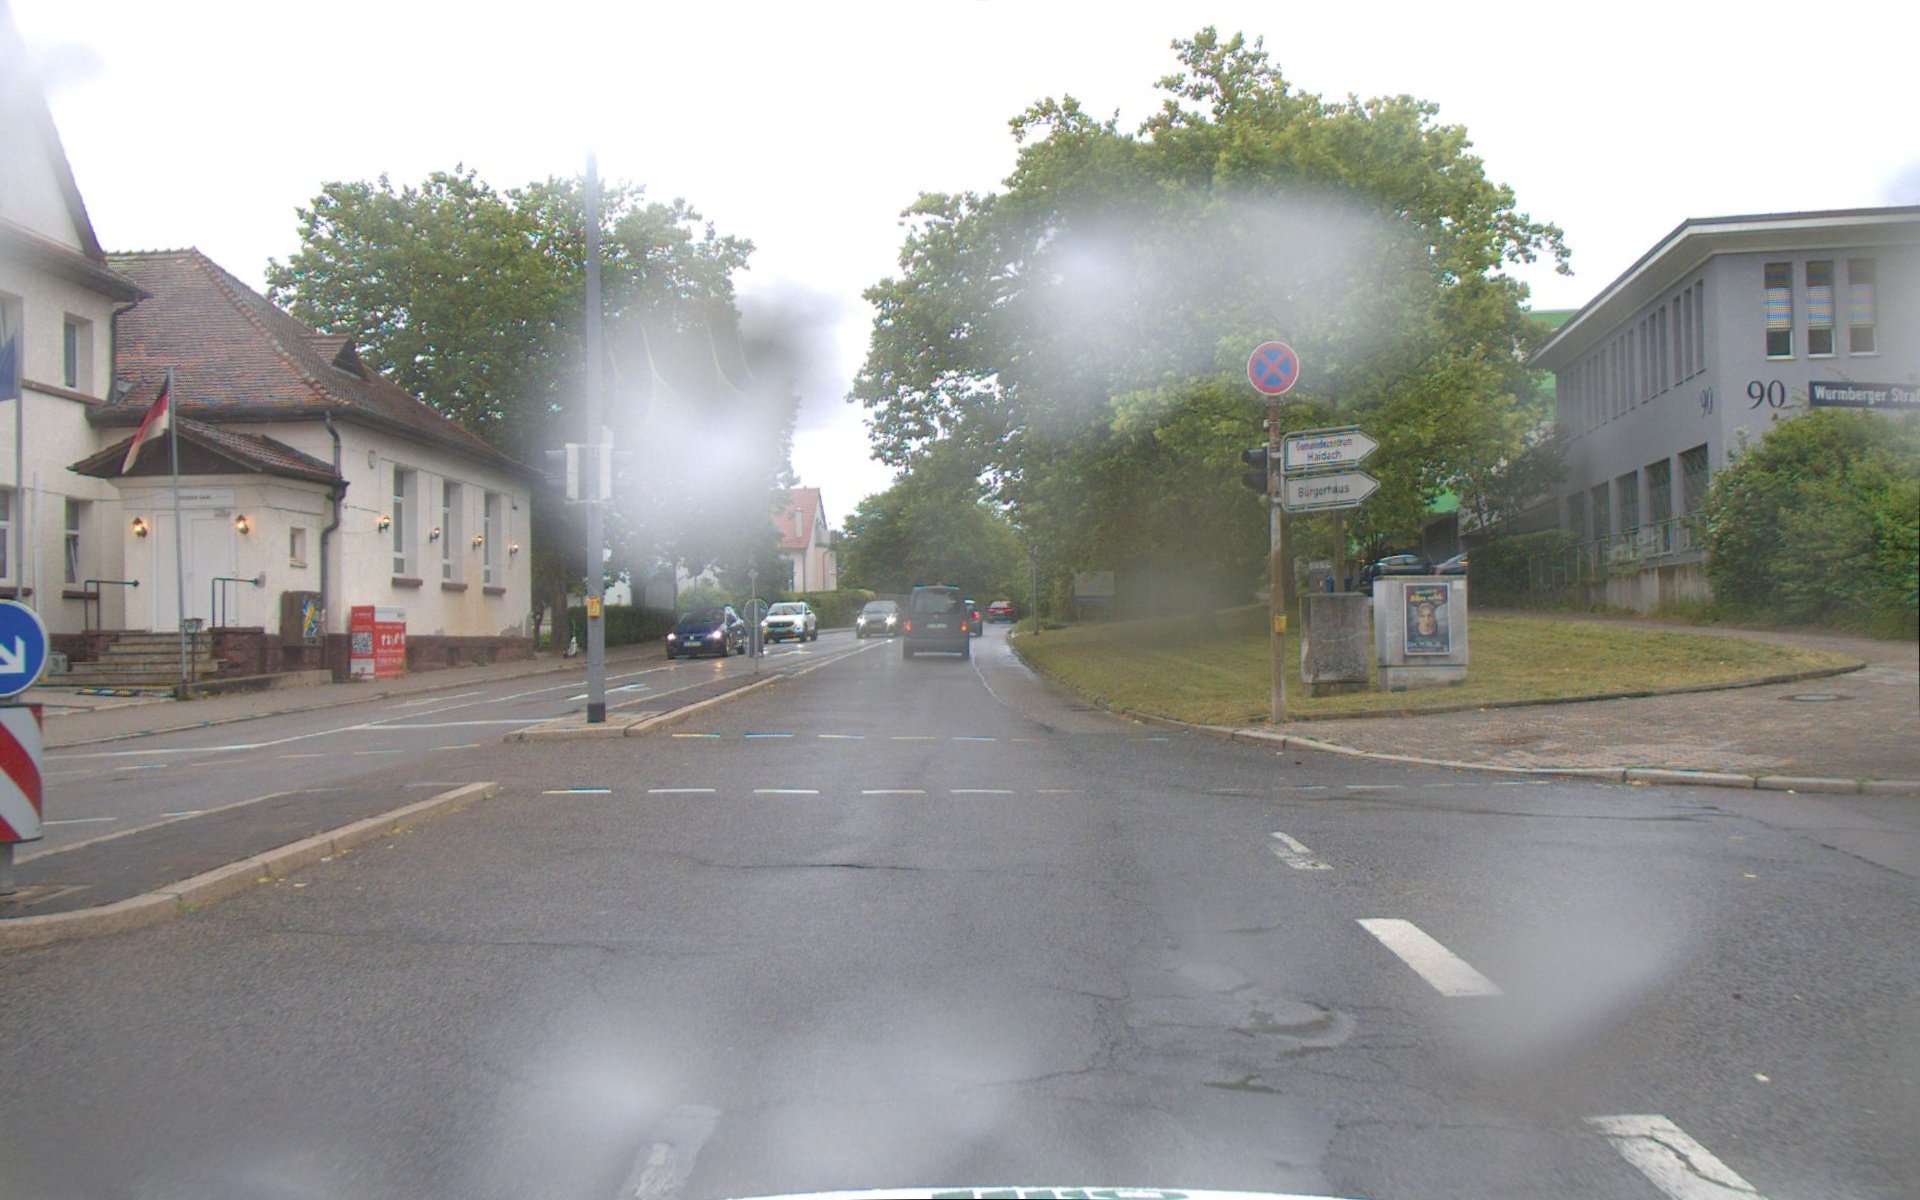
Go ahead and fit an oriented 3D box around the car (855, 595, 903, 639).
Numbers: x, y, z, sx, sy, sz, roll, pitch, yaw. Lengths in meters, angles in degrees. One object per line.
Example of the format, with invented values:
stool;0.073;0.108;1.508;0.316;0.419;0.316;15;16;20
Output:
car;-3.321;0.674;68.025;1.711;1.701;3.707;-1;0;1

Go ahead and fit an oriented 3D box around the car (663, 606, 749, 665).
car;-7.317;0.996;48.025;1.756;1.554;4.209;-1;0;1

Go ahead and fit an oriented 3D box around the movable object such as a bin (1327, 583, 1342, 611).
movable object such as a bin;12.629;-0.101;55.725;0.440;0.921;0.463;0;-1;18

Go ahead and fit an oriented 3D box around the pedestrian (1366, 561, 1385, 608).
pedestrian;14.482;-0.539;57.658;0.588;1.645;0.526;1;-1;9

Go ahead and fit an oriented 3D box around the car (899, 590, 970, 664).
car;-0.640;0.704;43.575;1.775;1.840;3.756;1;-1;0

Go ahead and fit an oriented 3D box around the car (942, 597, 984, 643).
car;0.101;0.828;68.445;1.670;1.840;3.684;1;-1;0

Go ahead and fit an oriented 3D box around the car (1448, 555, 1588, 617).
car;17.453;-0.418;51.875;3.902;1.848;2.002;1;-1;11

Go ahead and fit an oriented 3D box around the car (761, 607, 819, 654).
car;-6.682;1.182;65.296;1.792;1.701;4.051;-1;0;1

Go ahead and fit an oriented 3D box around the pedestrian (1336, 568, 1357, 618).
pedestrian;14.004;-0.234;59.923;0.546;1.794;0.728;1;-1;-2

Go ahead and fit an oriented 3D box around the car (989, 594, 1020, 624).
car;2.945;0.615;109.731;1.952;1.915;4.000;1;-1;0

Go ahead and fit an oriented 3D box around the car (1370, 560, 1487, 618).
car;16.735;-0.381;59.215;3.902;1.965;2.001;1;-1;12

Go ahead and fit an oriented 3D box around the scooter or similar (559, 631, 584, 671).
scooter or similar;-10.934;1.422;46.590;0.382;1.083;1.410;1;-1;-1

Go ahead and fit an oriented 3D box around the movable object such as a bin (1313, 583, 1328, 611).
movable object such as a bin;12.178;-0.105;55.885;0.440;0.921;0.463;0;-1;18
